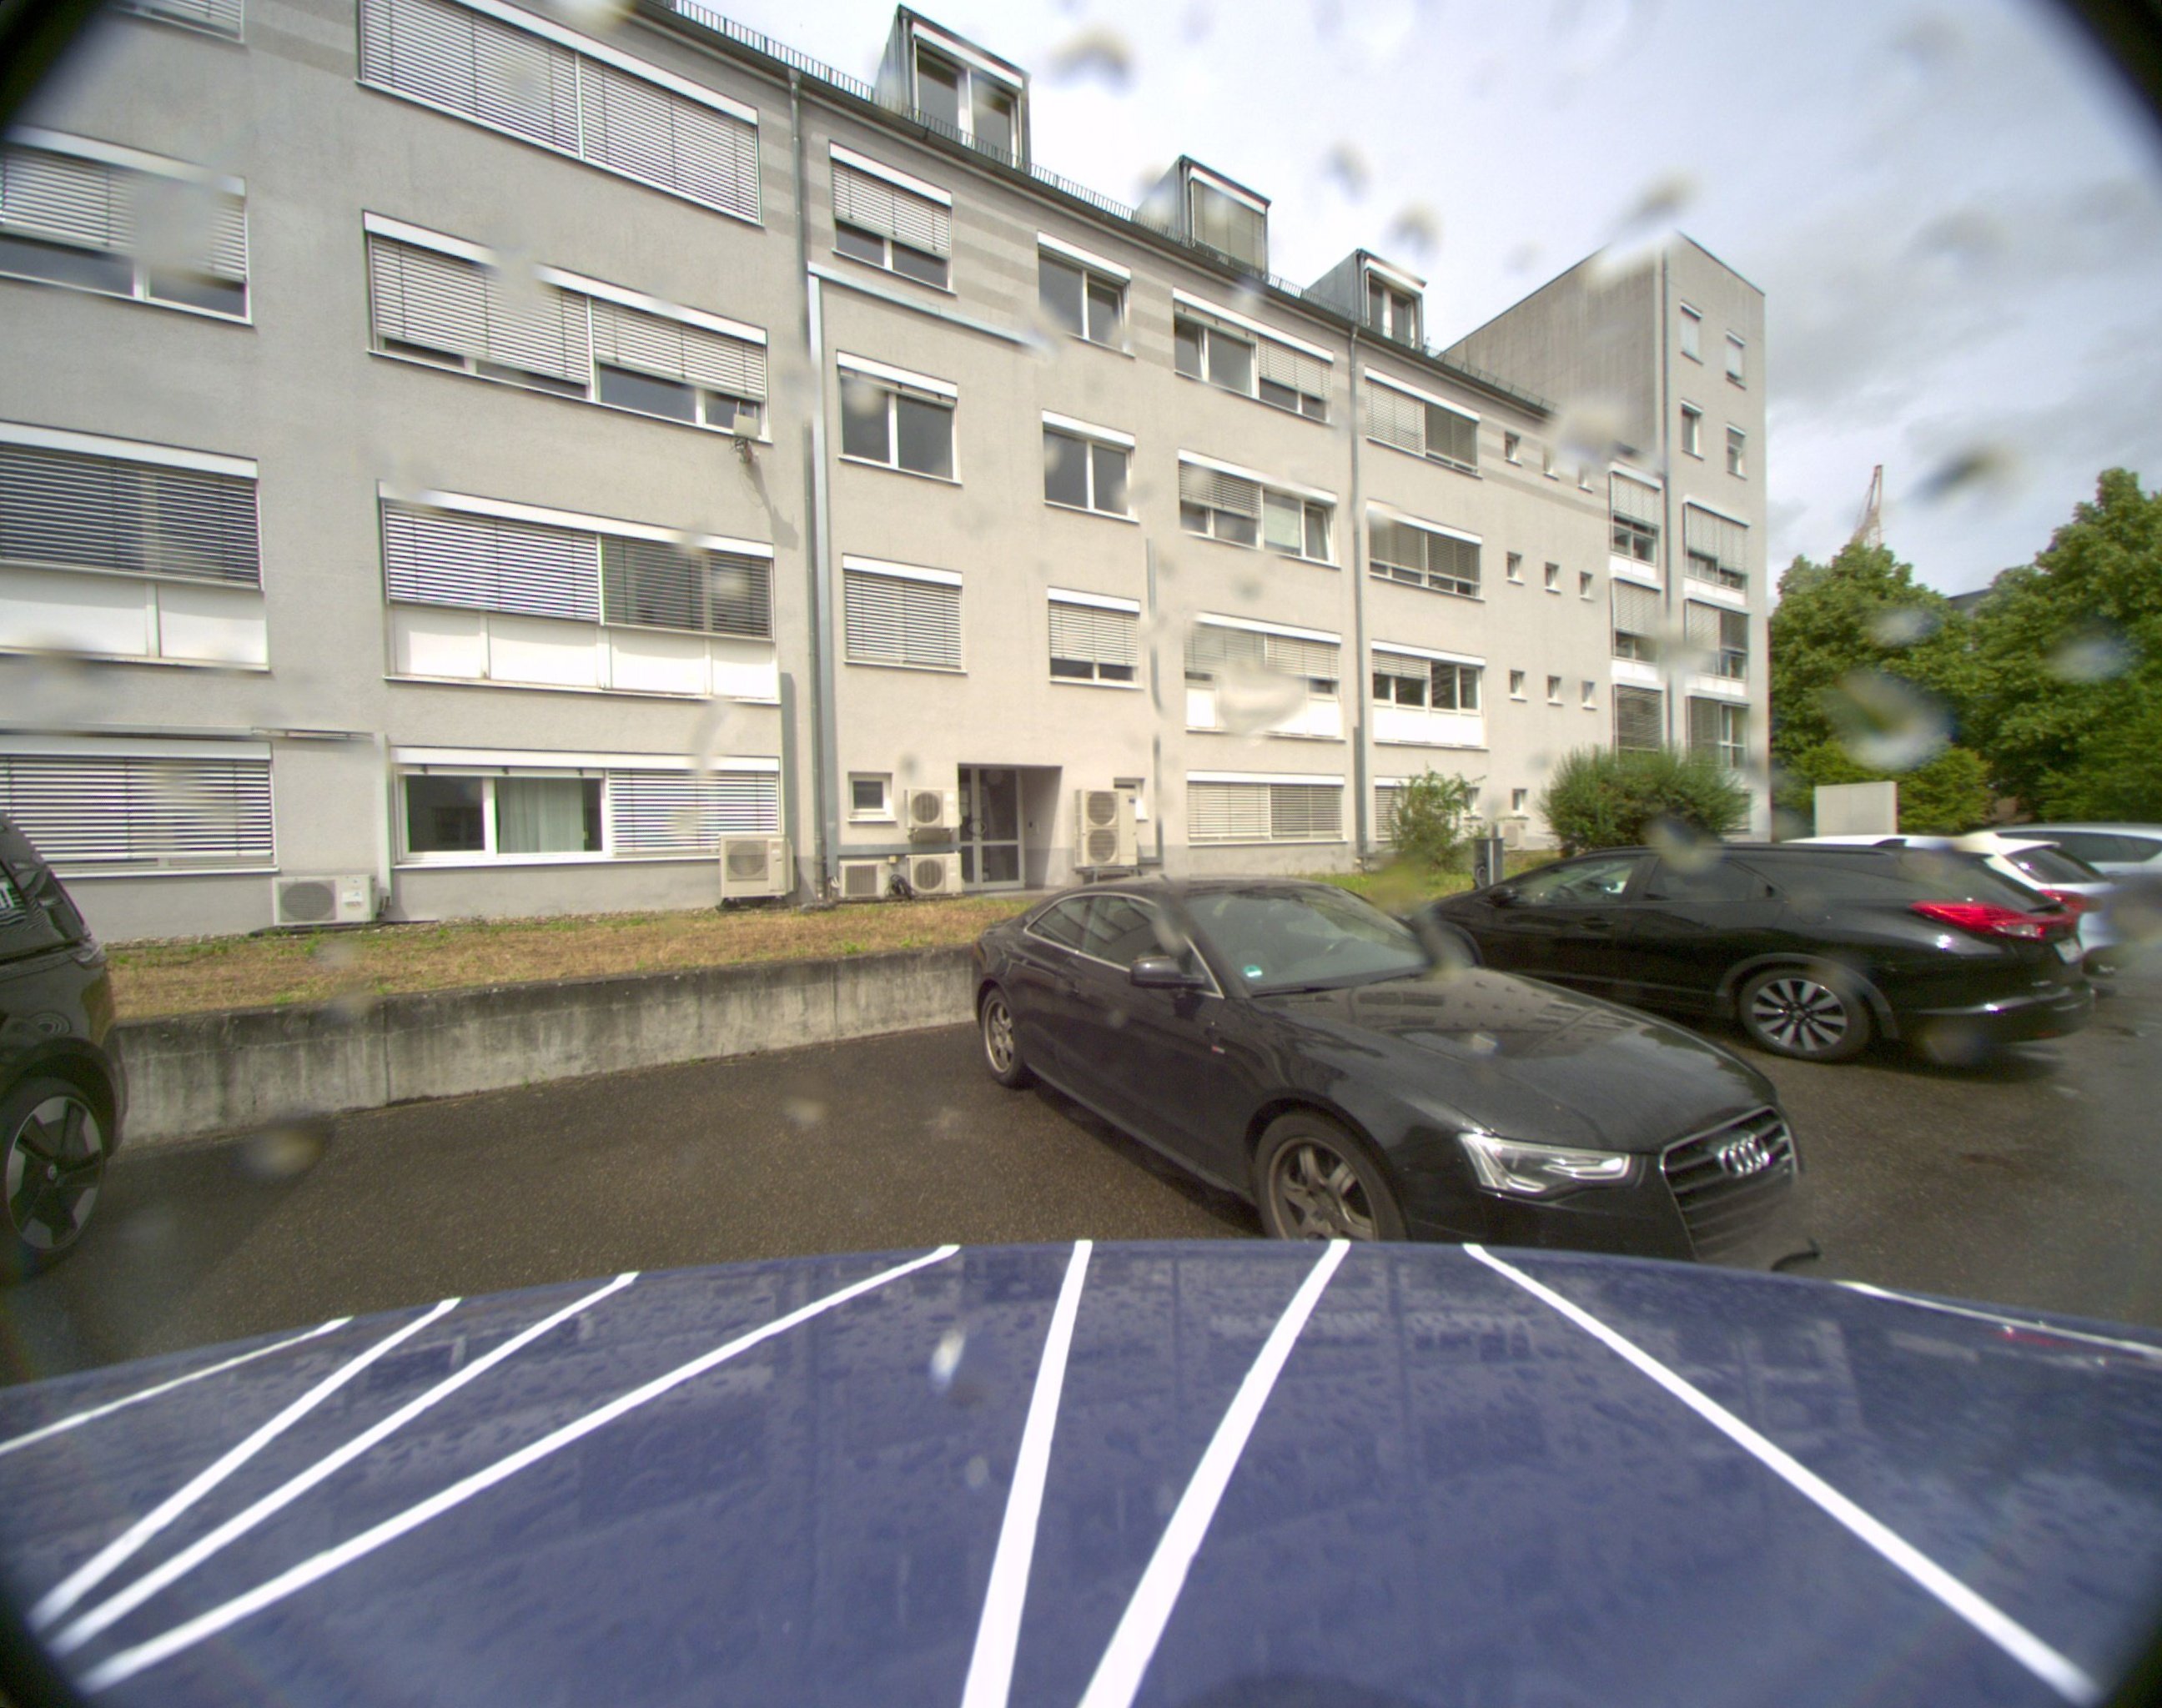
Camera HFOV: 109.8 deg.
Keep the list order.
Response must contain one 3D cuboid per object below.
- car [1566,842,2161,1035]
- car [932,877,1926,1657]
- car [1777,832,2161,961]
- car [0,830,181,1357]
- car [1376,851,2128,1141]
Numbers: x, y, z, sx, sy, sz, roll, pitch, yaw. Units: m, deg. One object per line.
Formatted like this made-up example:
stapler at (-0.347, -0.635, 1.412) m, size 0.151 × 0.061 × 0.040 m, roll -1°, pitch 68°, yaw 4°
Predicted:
car at (7.775, 0.622, 8.066) m, size 1.698 × 1.434 × 4.115 m, roll -3°, pitch 2°, yaw -28°
car at (0.799, 0.931, 3.956) m, size 1.765 × 1.344 × 4.518 m, roll -3°, pitch 2°, yaw -29°
car at (12.448, 0.456, 10.148) m, size 1.765 × 1.434 × 4.305 m, roll -3°, pitch 2°, yaw -30°
car at (-4.095, 0.889, 1.132) m, size 1.973 × 1.854 × 4.736 m, roll -3°, pitch 2°, yaw -30°
car at (4.844, 0.741, 6.290) m, size 1.765 × 1.434 × 4.305 m, roll -3°, pitch 2°, yaw -30°
